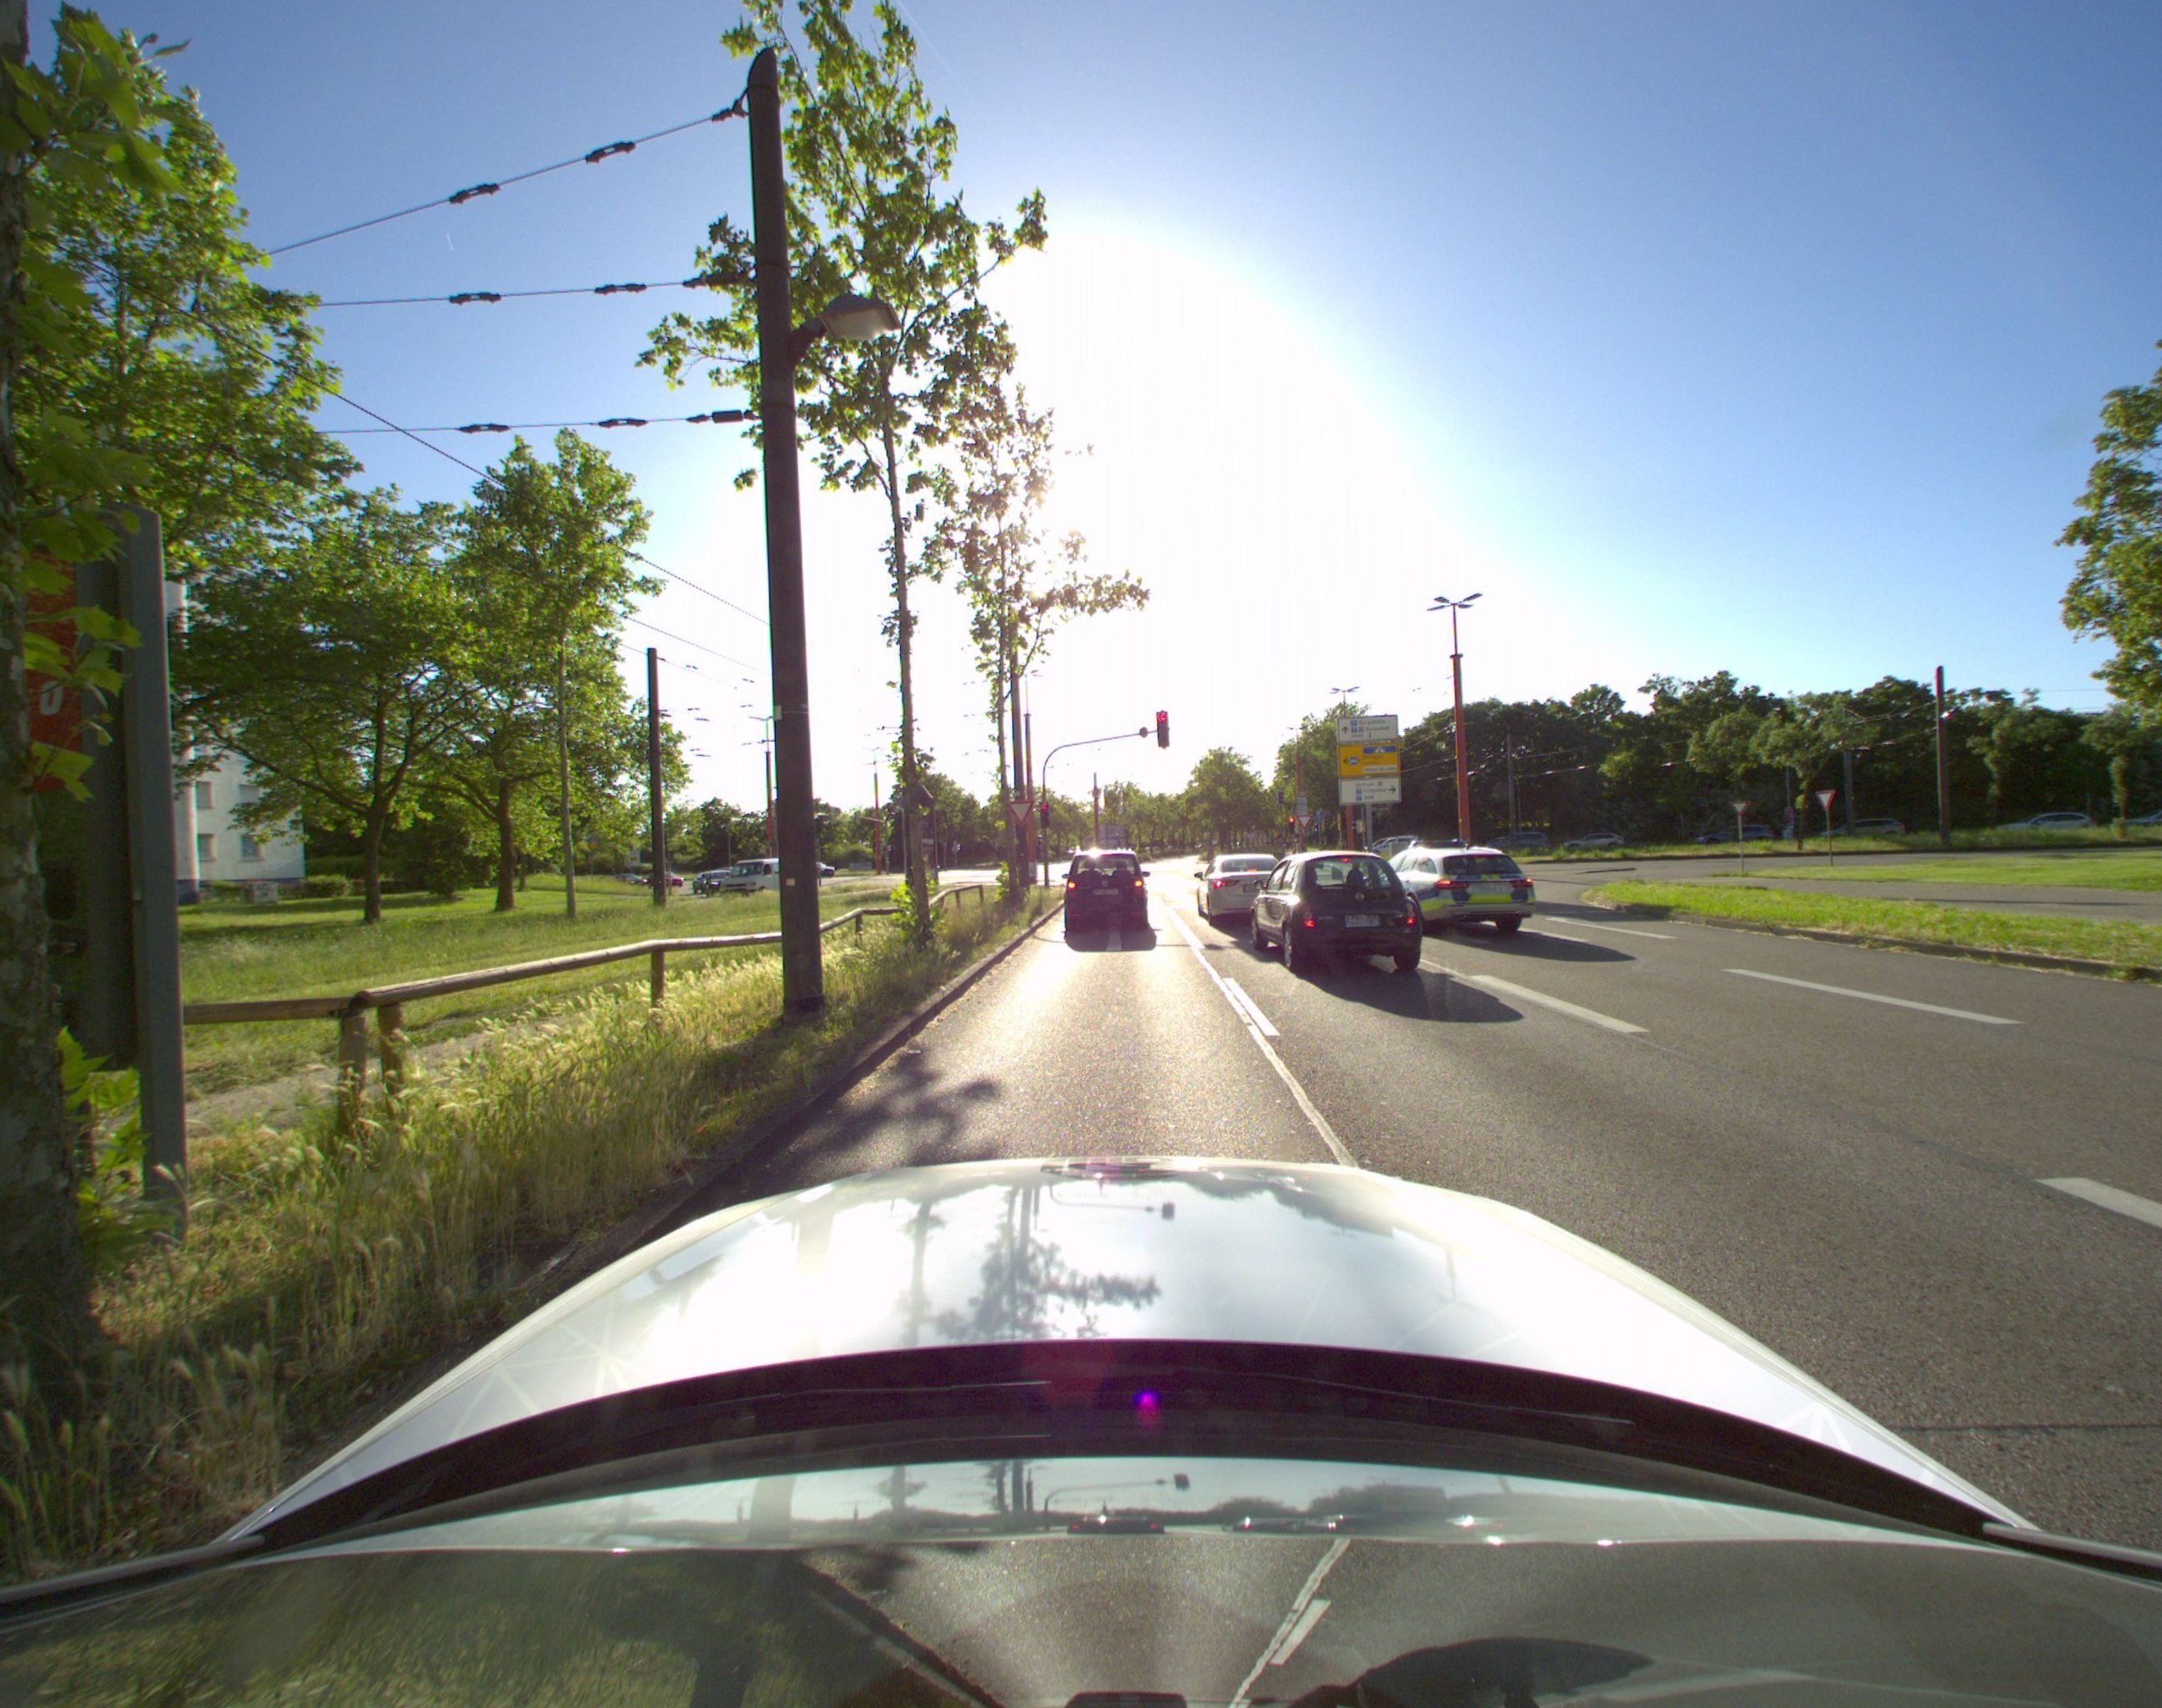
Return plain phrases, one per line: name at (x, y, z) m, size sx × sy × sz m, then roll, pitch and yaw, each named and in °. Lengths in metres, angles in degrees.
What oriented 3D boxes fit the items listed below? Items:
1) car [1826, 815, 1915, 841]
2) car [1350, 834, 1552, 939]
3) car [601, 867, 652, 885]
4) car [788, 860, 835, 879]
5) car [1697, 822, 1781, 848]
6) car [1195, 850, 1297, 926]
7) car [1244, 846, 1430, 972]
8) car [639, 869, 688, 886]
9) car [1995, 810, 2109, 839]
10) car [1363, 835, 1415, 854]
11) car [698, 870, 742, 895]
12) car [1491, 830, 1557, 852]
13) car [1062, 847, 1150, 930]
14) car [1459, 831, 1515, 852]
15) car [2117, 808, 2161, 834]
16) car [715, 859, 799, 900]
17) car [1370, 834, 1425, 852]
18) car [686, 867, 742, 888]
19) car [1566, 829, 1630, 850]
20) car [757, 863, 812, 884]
car at (53.413, -1.739, 55.178) m, size 3.949 × 1.528 × 1.871 m, roll -1°, pitch -1°, yaw 29°
car at (6.745, 0.515, 15.462) m, size 1.886 × 1.632 × 4.504 m, roll -2°, pitch 0°, yaw 2°
car at (-44.938, 2.188, 80.480) m, size 4.447 × 1.610 × 1.910 m, roll -2°, pitch 2°, yaw 21°
car at (-26.546, 1.525, 80.225) m, size 3.952 × 1.620 × 1.910 m, roll -3°, pitch 2°, yaw 21°
car at (44.984, -1.265, 55.805) m, size 4.220 × 1.627 × 1.941 m, roll -1°, pitch -1°, yaw 29°
car at (3.550, 0.682, 18.219) m, size 1.671 × 1.475 × 4.134 m, roll -1°, pitch 0°, yaw 4°
car at (3.446, 0.665, 11.605) m, size 1.633 × 1.494 × 3.505 m, roll -1°, pitch 0°, yaw 2°
car at (-39.161, 2.191, 76.342) m, size 4.000 × 1.436 × 1.825 m, roll -2°, pitch 2°, yaw 21°
car at (57.869, -1.731, 48.638) m, size 3.949 × 1.581 × 1.884 m, roll -1°, pitch -1°, yaw 30°
car at (26.360, -0.784, 69.637) m, size 3.949 × 1.476 × 1.800 m, roll -1°, pitch -1°, yaw 28°
car at (-23.602, 1.818, 53.162) m, size 1.907 × 1.543 × 4.453 m, roll -1°, pitch 0°, yaw -33°
car at (33.567, -0.985, 61.842) m, size 4.310 × 1.559 × 1.883 m, roll -1°, pitch -1°, yaw 27°
car at (0.549, 0.685, 17.747) m, size 1.704 × 1.603 × 3.351 m, roll -2°, pitch 0°, yaw 2°
car at (32.846, -1.029, 65.829) m, size 3.949 × 1.561 × 1.911 m, roll -1°, pitch -1°, yaw 29°
car at (64.680, -2.006, 48.066) m, size 3.948 × 1.486 × 1.903 m, roll -1°, pitch -1°, yaw 31°
car at (-15.411, 1.162, 39.022) m, size 1.814 × 1.780 × 4.575 m, roll -1°, pitch 0°, yaw 6°
car at (25.749, -0.860, 66.329) m, size 3.949 × 1.338 × 1.739 m, roll -1°, pitch 0°, yaw 28°
car at (-33.254, 2.145, 73.822) m, size 4.447 × 1.610 × 1.910 m, roll -3°, pitch 2°, yaw 21°
car at (39.381, -1.086, 62.150) m, size 3.949 × 1.495 × 1.872 m, roll -1°, pitch -1°, yaw 29°
car at (-26.733, 1.743, 73.435) m, size 4.447 × 1.610 × 1.910 m, roll -3°, pitch 2°, yaw 21°
